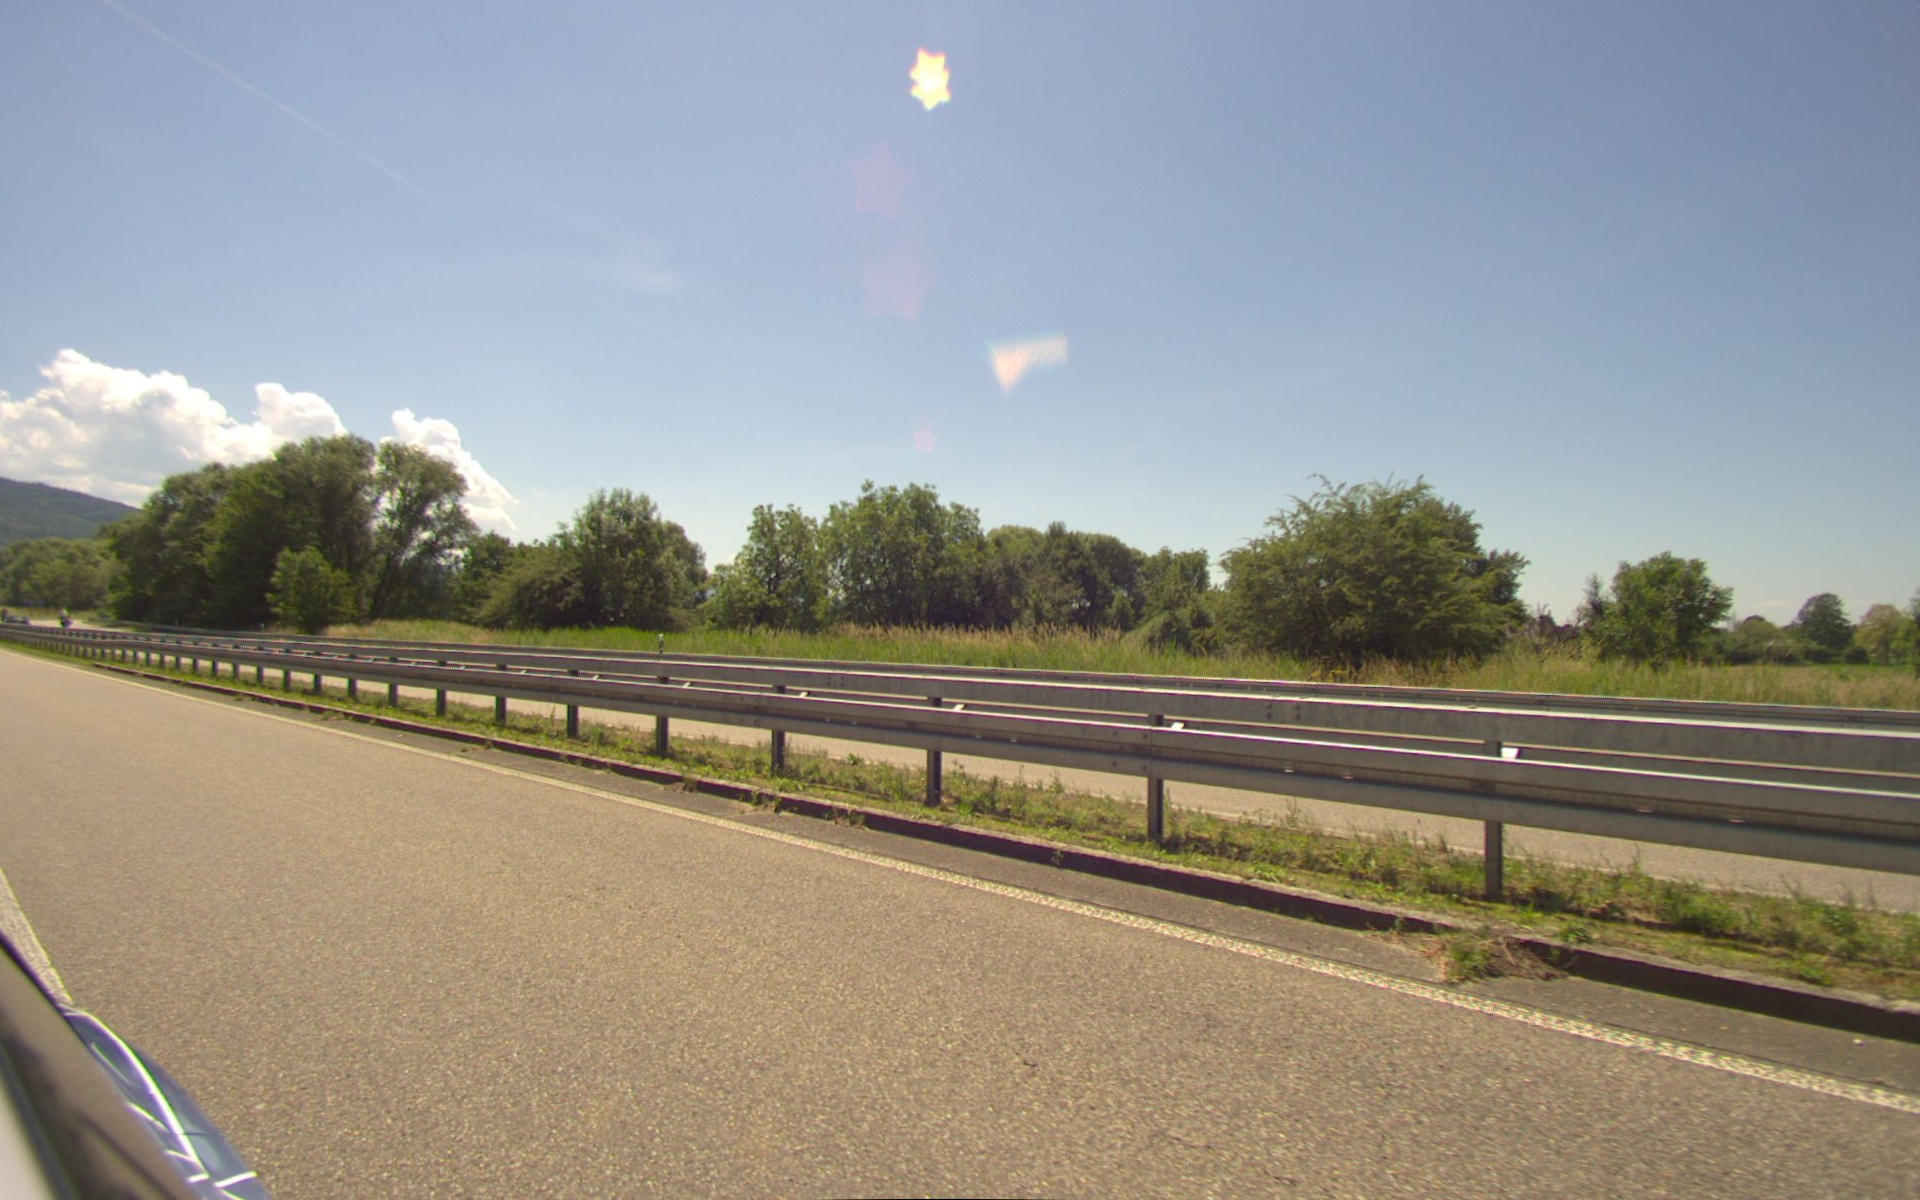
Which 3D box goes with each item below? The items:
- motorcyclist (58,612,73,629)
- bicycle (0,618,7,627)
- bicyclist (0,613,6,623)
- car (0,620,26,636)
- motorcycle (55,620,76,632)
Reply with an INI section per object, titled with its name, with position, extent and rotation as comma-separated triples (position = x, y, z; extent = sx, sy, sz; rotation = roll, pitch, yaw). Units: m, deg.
[motorcyclist]
position = -86.964, 2.029, 98.368
extent = 0.809, 1.629, 0.935
rotation = -1, -2, 41
[bicycle]
position = -124.686, 2.880, 131.771
extent = 2.280, 1.166, 0.607
rotation = 0, -1, 42
[bicyclist]
position = -124.686, 2.392, 131.755
extent = 0.608, 1.287, 0.607
rotation = -1, -1, 42
[car]
position = -79.202, 2.315, 84.361
extent = 3.534, 1.342, 1.611
rotation = -1, -1, 42
[motorcycle]
position = -86.861, 2.533, 98.269
extent = 3.817, 1.072, 1.052
rotation = -1, -2, 42
